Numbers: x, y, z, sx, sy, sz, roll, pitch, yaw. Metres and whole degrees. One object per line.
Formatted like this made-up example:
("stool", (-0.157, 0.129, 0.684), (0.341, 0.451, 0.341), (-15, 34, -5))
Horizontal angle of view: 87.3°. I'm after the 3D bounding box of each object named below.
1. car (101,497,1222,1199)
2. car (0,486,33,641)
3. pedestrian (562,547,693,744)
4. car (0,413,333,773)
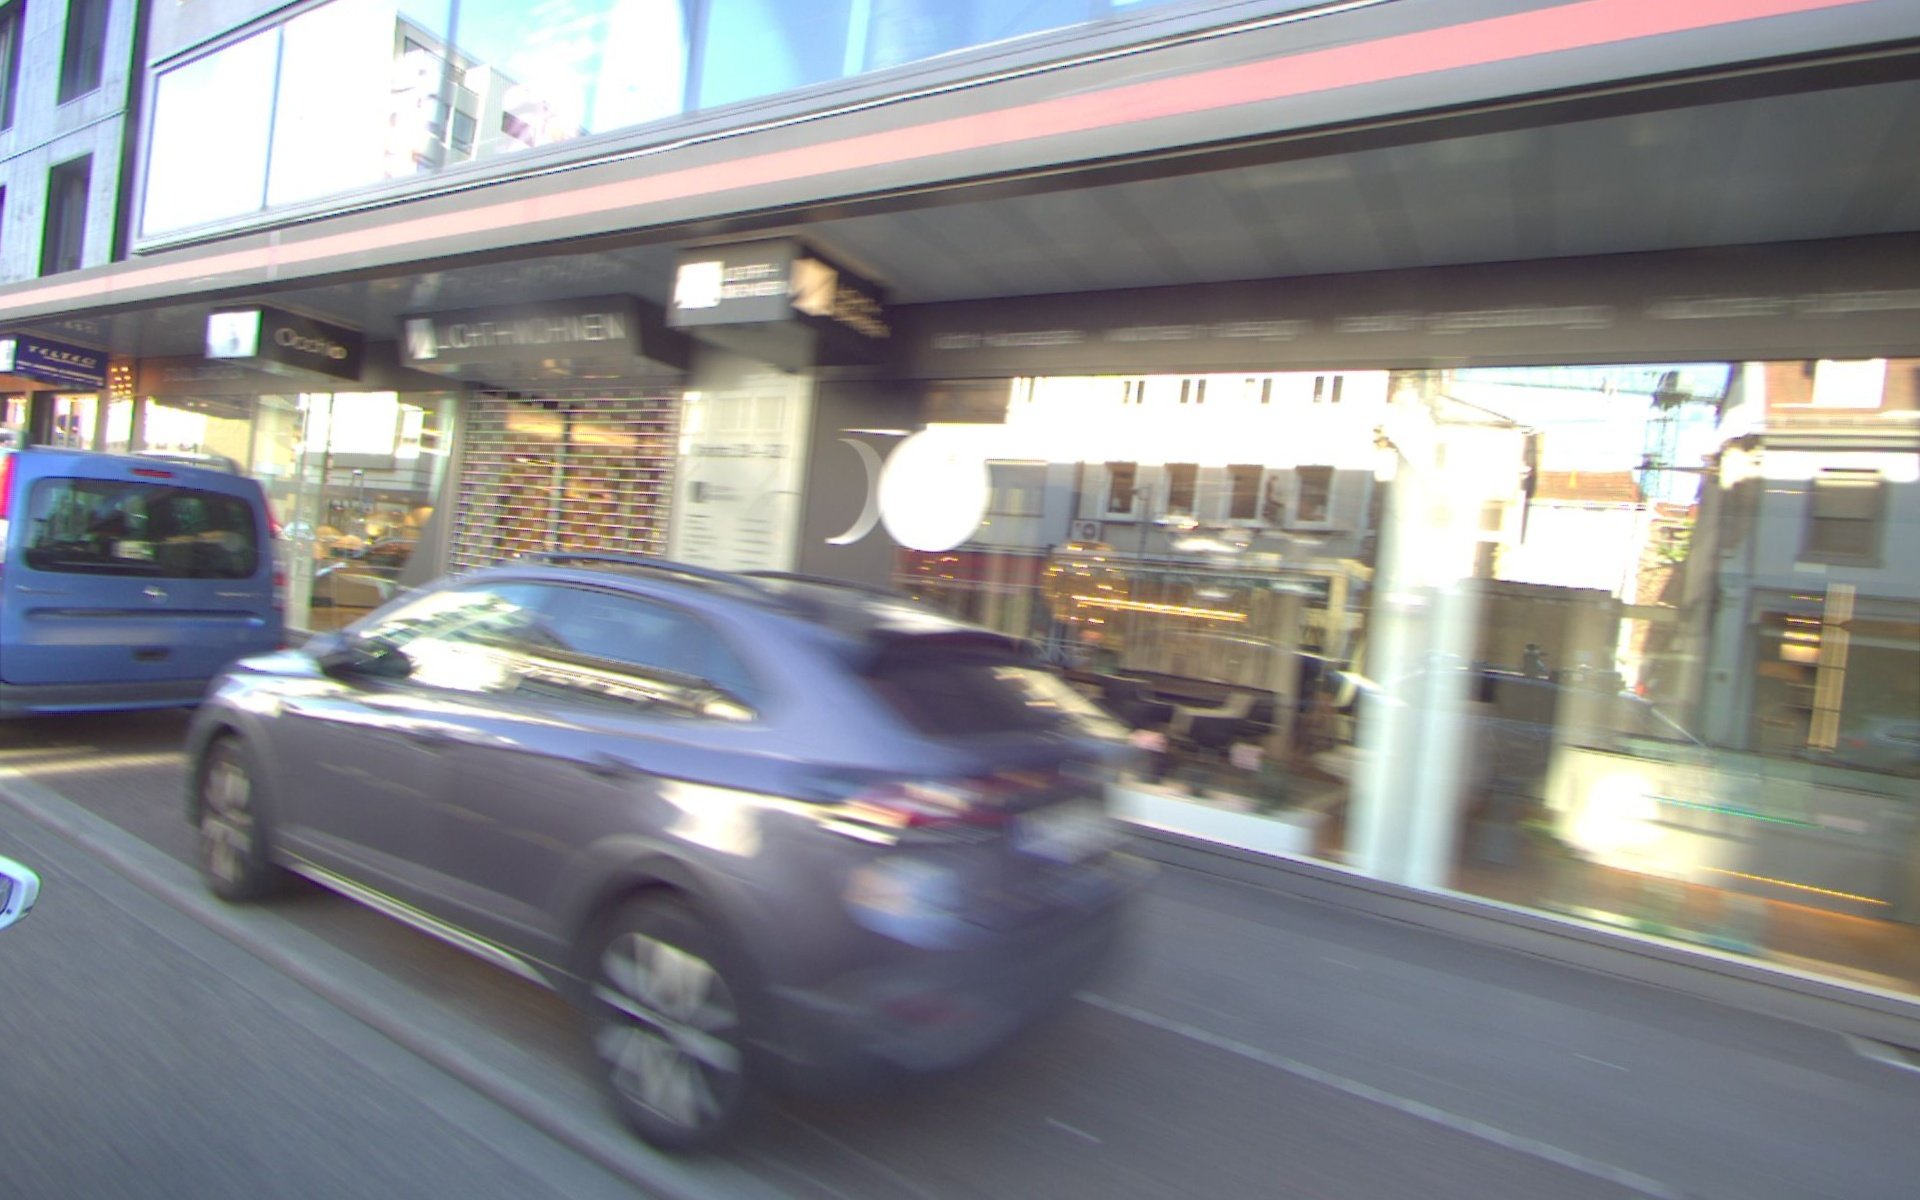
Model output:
("car", (-1.373, 0.586, 3.963), (4.216, 1.598, 1.764), (6, 2, 31))
("car", (-11.479, -0.572, 10.354), (4.343, 1.504, 1.722), (6, 2, 32))
("pedestrian", (-2.661, 0.348, 8.062), (0.719, 1.458, 0.575), (7, 3, 32))
("car", (-6.634, -0.198, 6.964), (4.472, 1.883, 1.819), (6, 1, 28))
